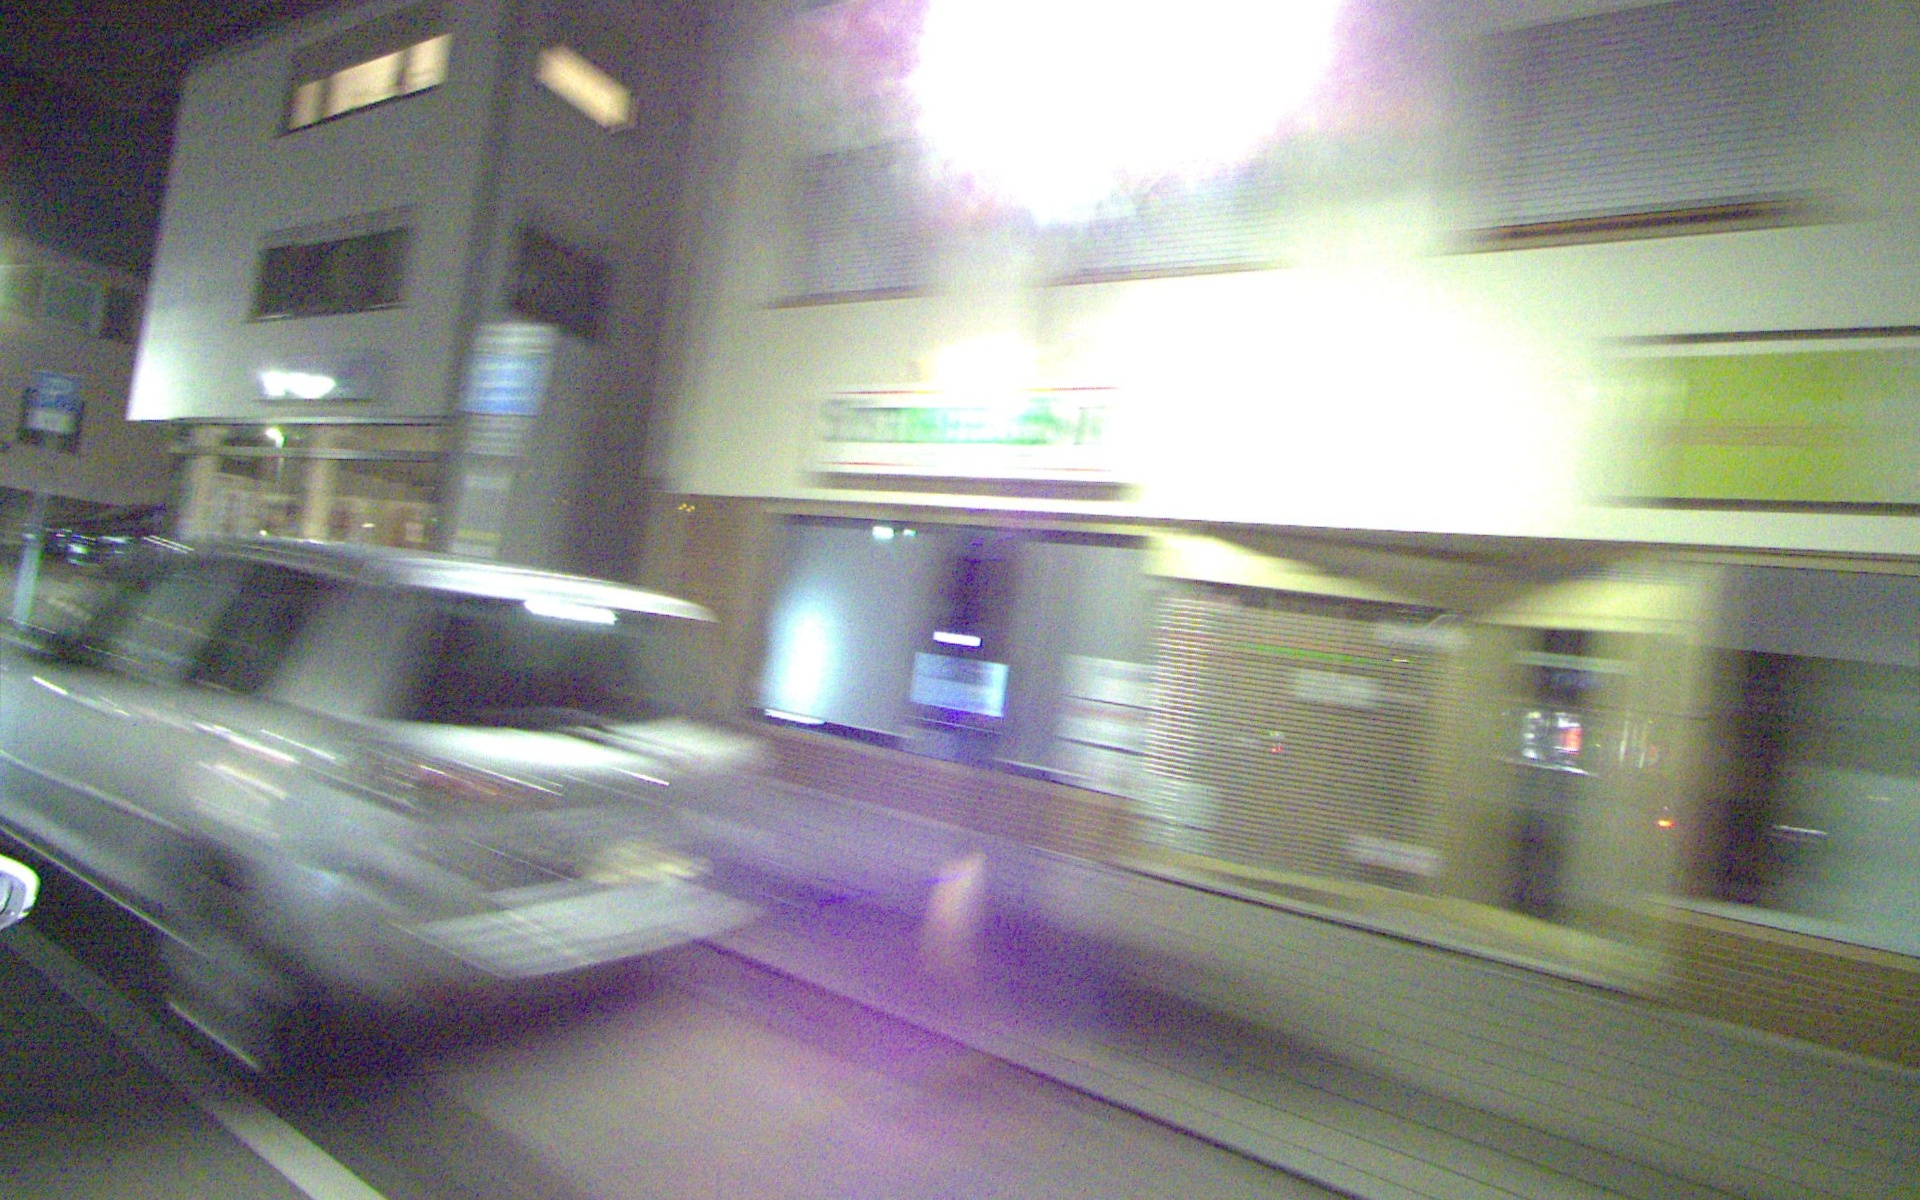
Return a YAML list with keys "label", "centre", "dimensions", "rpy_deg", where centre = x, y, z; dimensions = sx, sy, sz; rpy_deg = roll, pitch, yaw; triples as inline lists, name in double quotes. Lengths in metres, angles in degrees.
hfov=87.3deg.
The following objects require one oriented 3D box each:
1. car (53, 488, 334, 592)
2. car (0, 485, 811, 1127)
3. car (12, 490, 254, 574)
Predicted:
- label: "car"
  centre: [-15.326, -1.143, 20.355]
  dimensions: [1.785, 1.602, 4.080]
  rpy_deg: [8, 2, 29]
- label: "car"
  centre: [-2.624, 0.458, 4.095]
  dimensions: [3.614, 1.476, 1.678]
  rpy_deg: [6, -2, 31]
- label: "car"
  centre: [-19.212, -1.532, 23.548]
  dimensions: [1.722, 1.496, 3.990]
  rpy_deg: [6, 1, 30]
